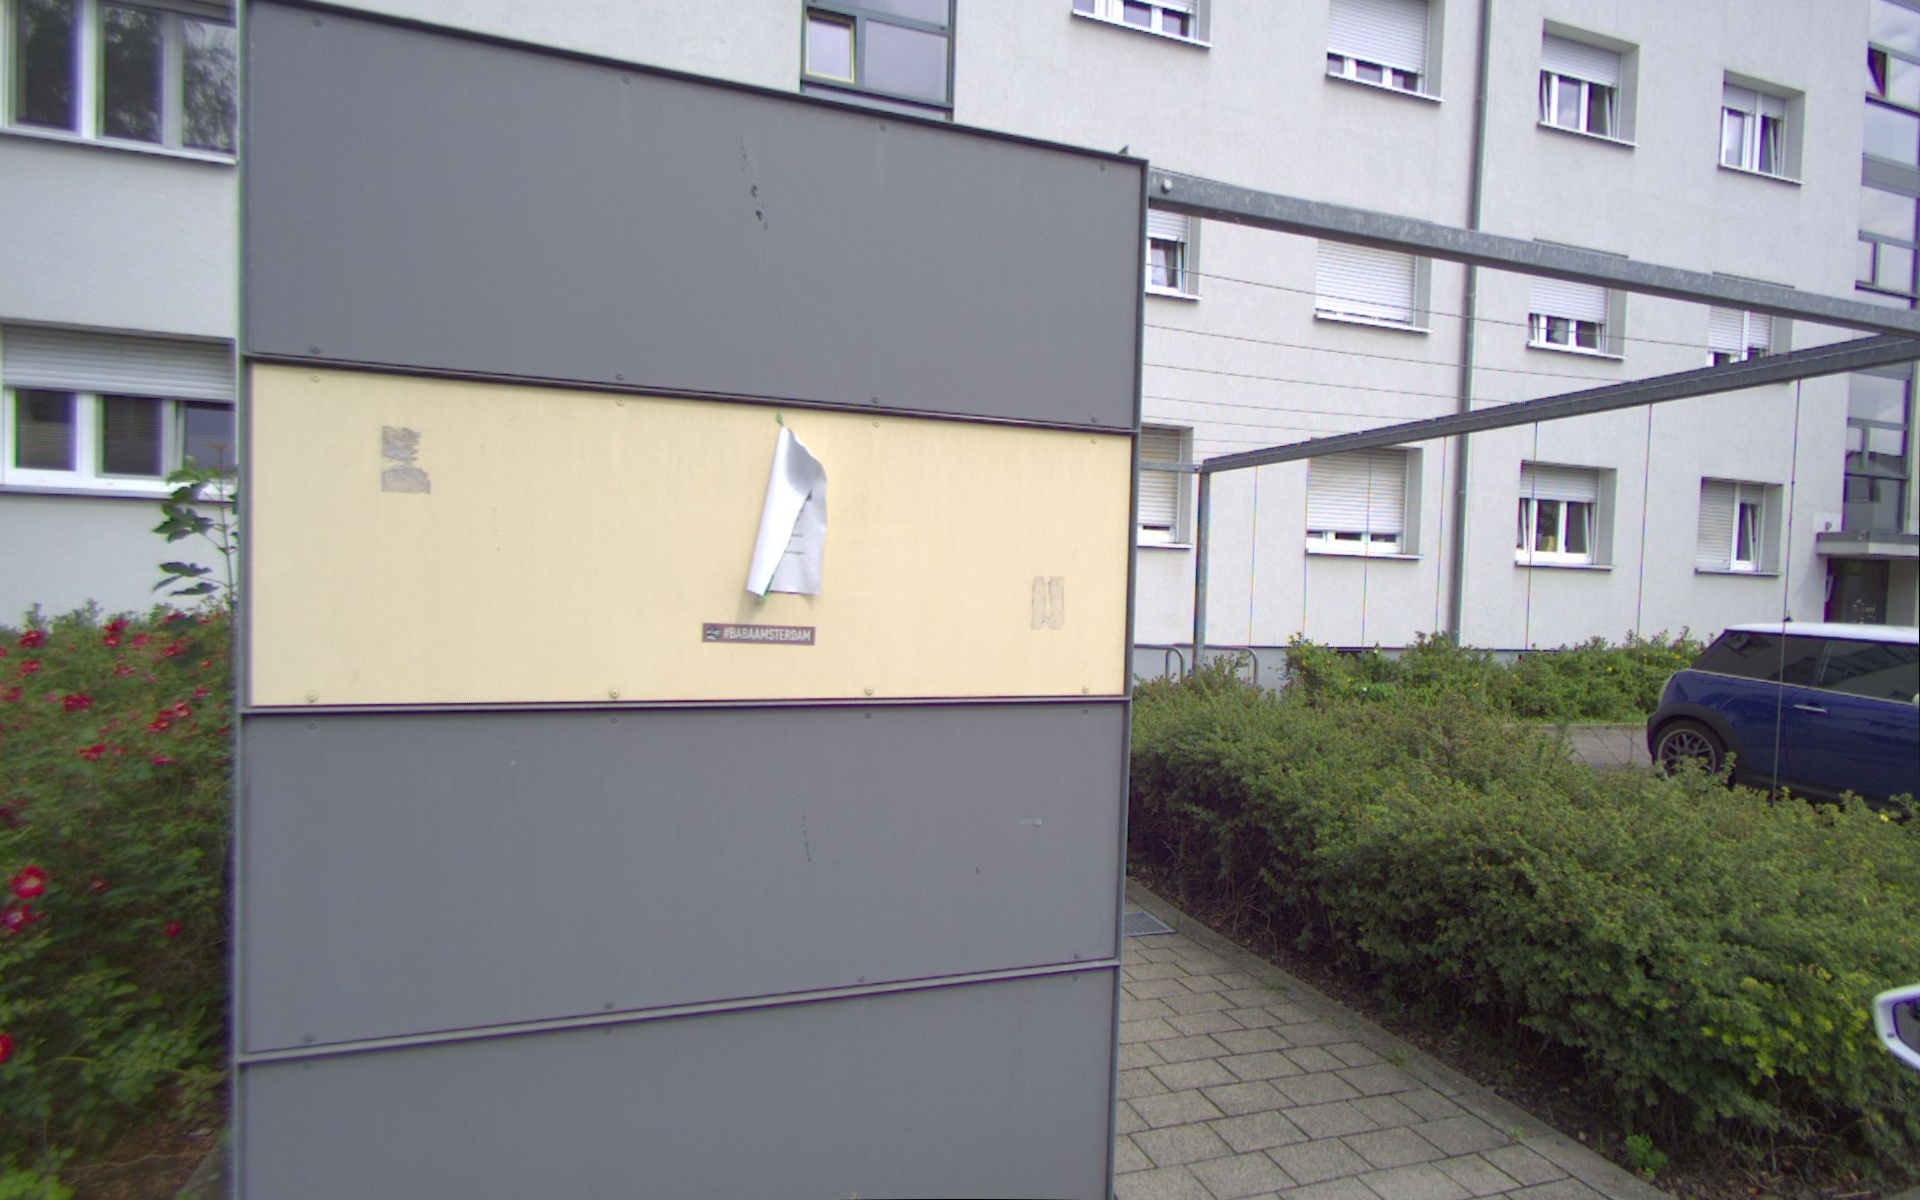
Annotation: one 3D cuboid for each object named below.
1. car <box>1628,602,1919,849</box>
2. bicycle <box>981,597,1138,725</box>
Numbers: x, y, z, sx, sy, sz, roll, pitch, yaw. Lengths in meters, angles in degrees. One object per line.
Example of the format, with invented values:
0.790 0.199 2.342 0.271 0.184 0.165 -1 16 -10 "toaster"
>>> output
6.803 0.843 6.770 1.625 1.481 3.635 2 2 -15 "car"
0.986 0.580 10.117 1.515 1.167 0.479 2 1 36 "bicycle"
